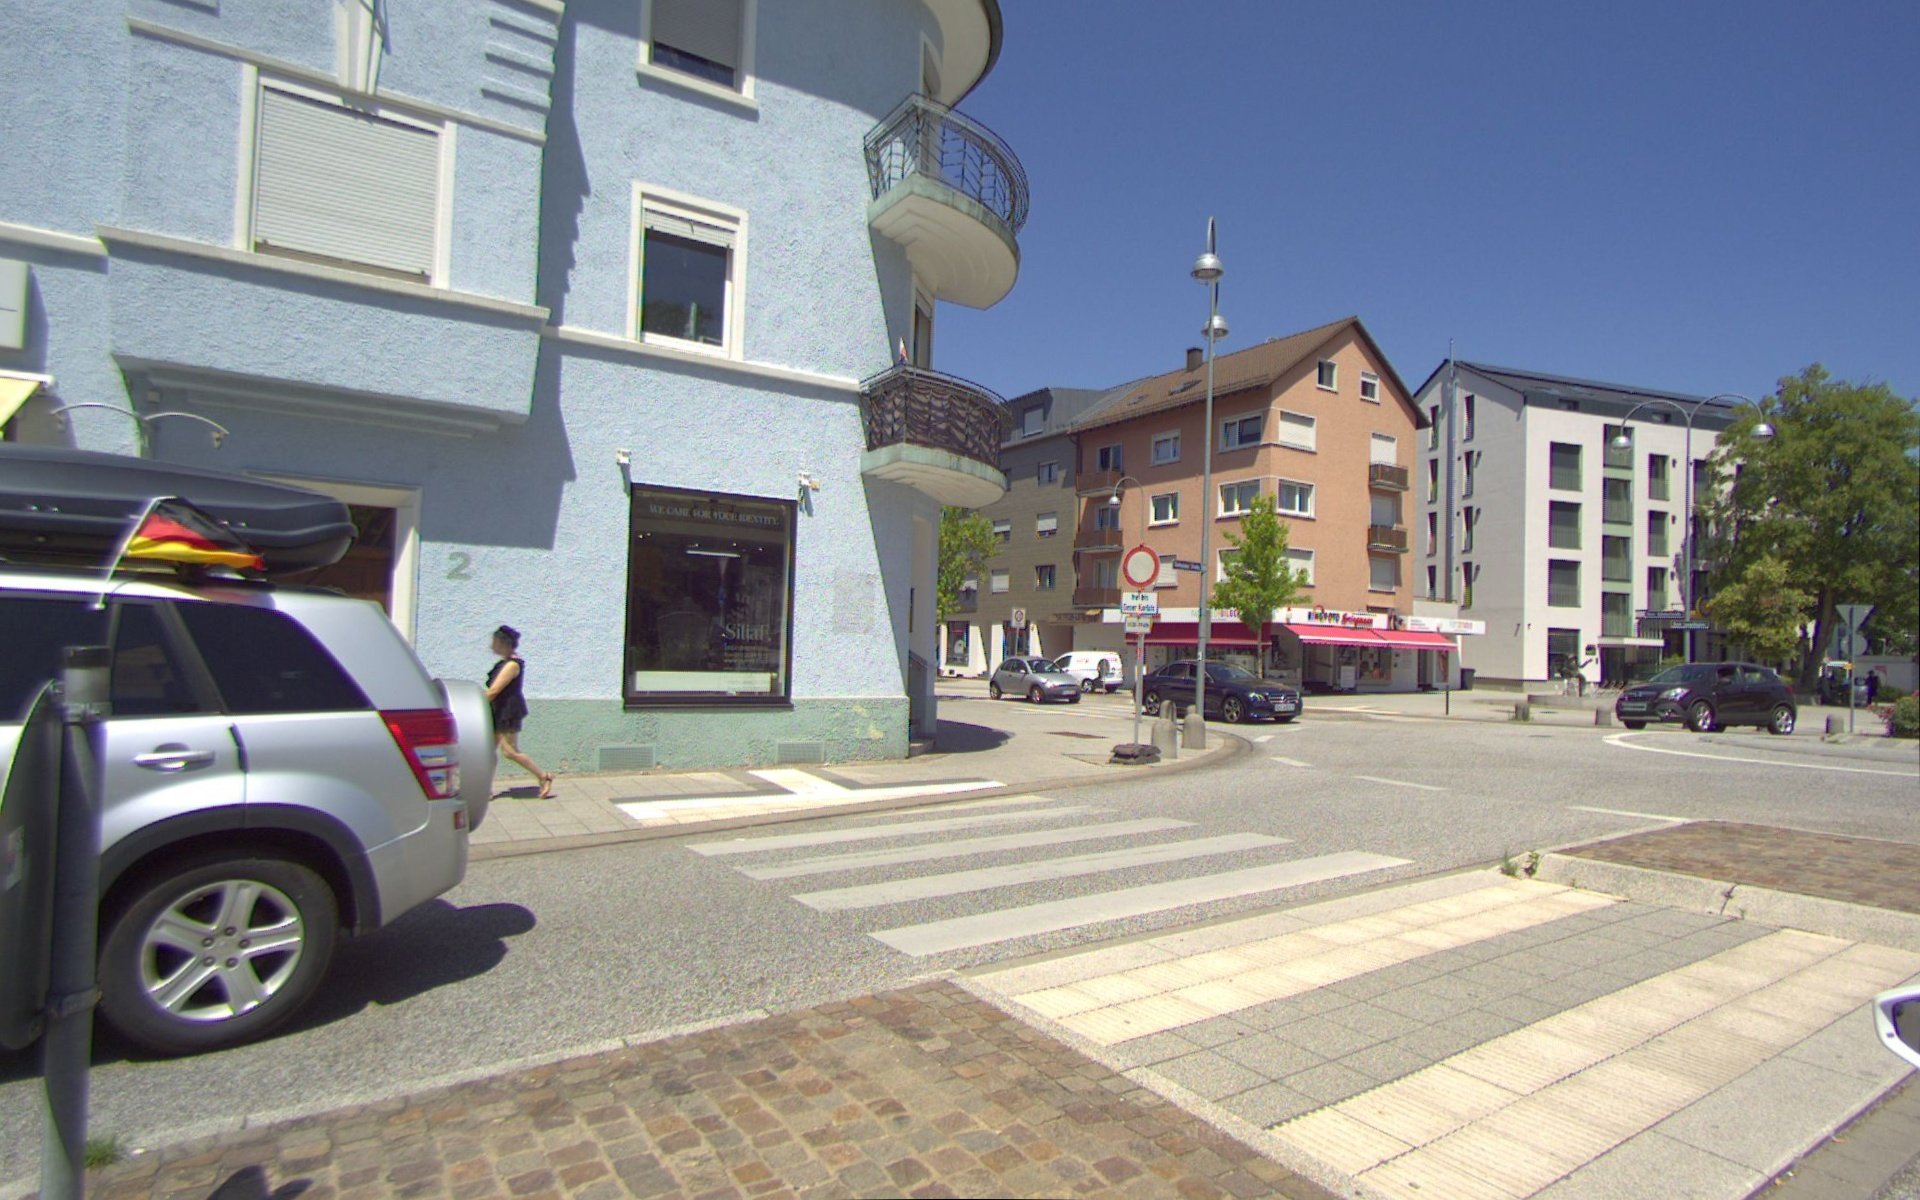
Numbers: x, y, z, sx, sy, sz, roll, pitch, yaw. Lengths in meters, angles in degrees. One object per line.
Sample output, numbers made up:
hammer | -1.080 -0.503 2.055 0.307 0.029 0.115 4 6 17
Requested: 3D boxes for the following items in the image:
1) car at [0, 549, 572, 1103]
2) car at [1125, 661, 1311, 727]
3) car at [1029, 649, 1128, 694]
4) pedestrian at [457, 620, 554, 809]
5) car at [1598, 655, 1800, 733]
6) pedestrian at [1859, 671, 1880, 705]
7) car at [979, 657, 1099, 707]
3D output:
car | -3.820 0.721 3.601 4.168 1.710 1.817 3 -4 -40
car | 6.332 2.276 25.092 1.762 1.421 4.465 3 -3 -35
car | 5.053 3.026 43.077 1.791 1.772 3.947 4 -4 -45
pedestrian | -4.007 0.987 8.884 0.535 1.605 0.515 0 -3 12
car | 17.315 2.193 23.593 3.994 1.663 1.798 3 -3 -17
pedestrian | 43.330 4.176 47.860 0.553 1.596 0.534 2 -3 -18
car | 2.474 2.595 32.195 1.762 1.421 3.913 3 -3 -34
